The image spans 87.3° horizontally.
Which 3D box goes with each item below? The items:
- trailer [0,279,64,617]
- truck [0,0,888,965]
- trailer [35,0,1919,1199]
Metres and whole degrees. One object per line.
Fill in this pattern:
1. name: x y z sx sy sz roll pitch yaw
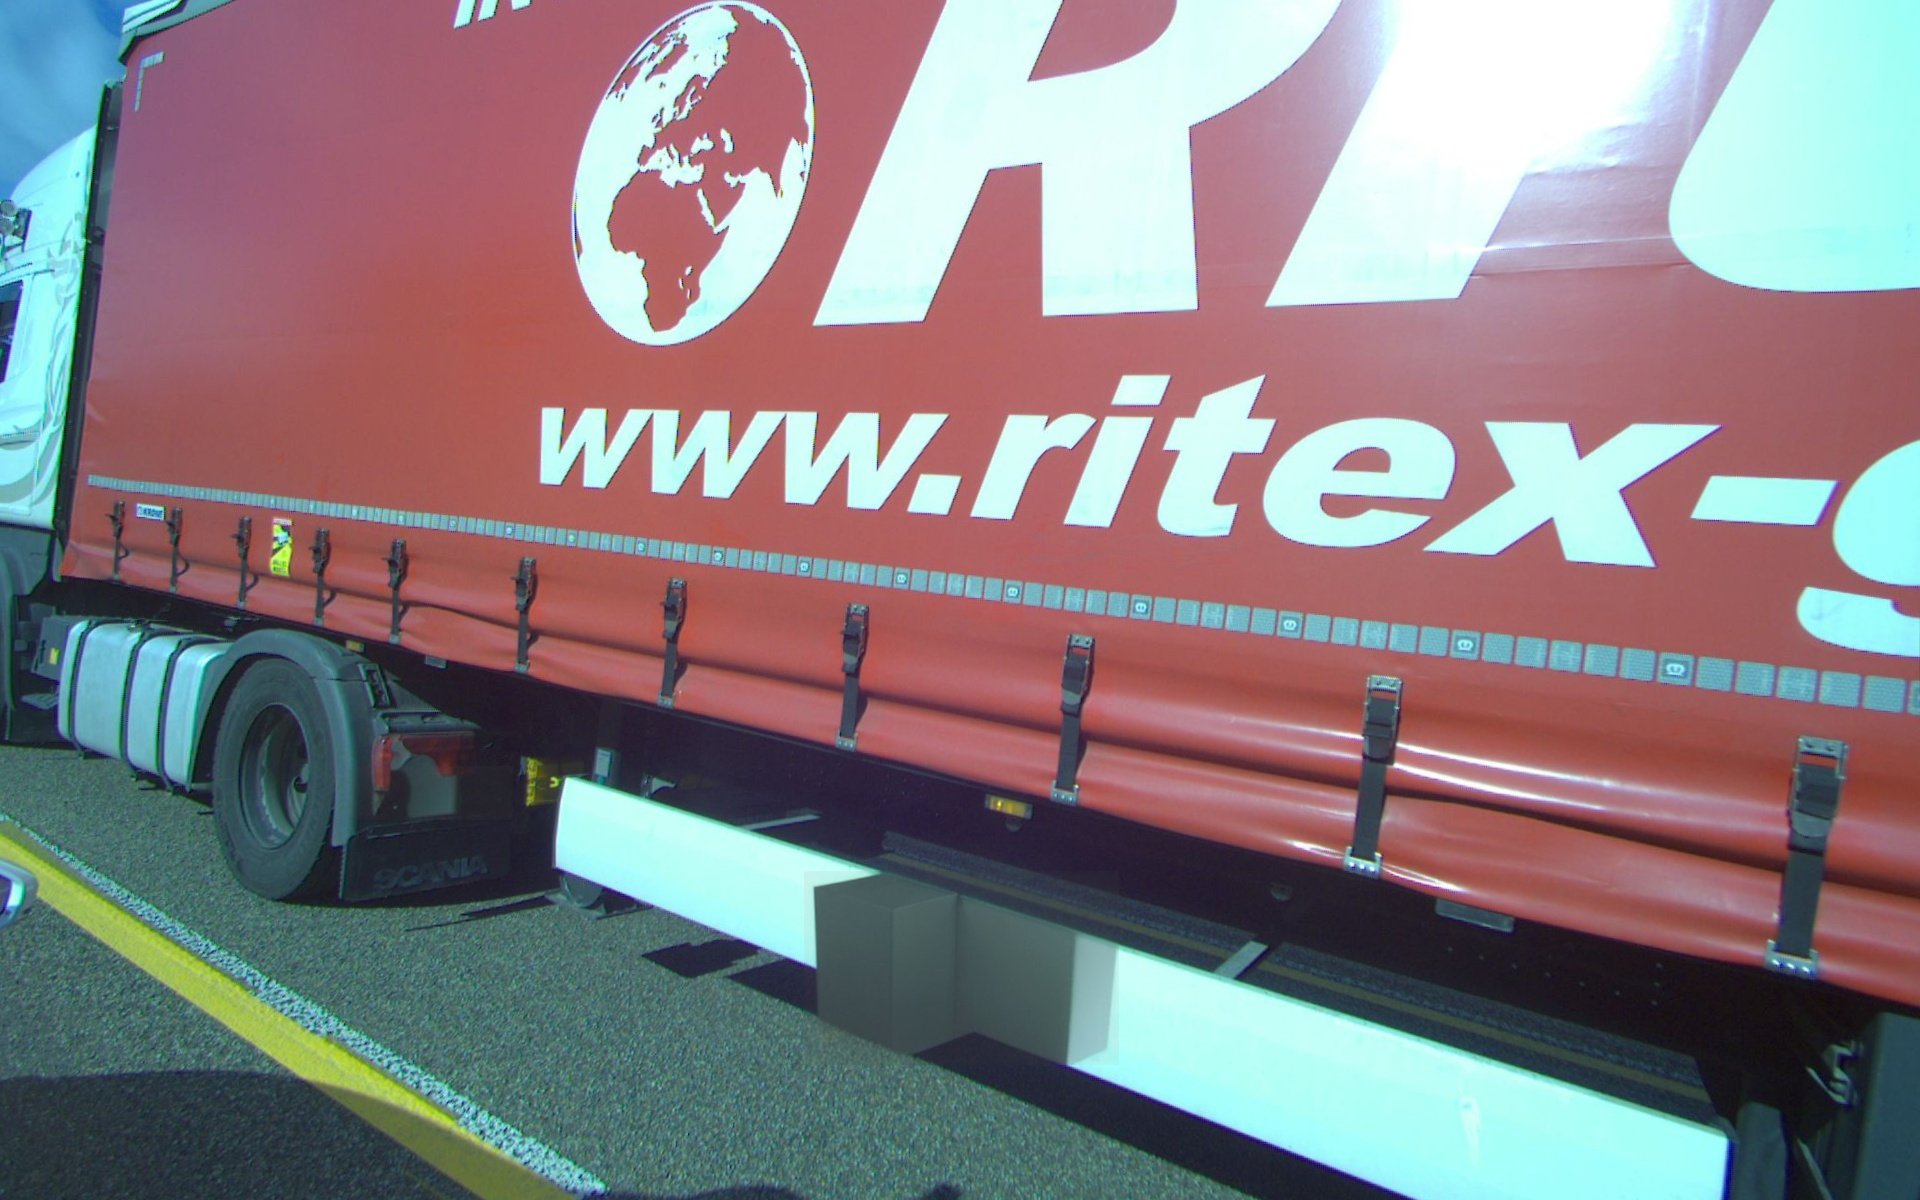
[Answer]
1. trailer: -17.242 -2.516 14.545 12.388 3.989 2.649 7 -1 32
2. truck: -3.736 -0.831 6.208 5.615 4.005 2.674 7 -1 31
3. trailer: 1.947 -0.229 2.761 13.193 4.015 2.705 7 -1 31
